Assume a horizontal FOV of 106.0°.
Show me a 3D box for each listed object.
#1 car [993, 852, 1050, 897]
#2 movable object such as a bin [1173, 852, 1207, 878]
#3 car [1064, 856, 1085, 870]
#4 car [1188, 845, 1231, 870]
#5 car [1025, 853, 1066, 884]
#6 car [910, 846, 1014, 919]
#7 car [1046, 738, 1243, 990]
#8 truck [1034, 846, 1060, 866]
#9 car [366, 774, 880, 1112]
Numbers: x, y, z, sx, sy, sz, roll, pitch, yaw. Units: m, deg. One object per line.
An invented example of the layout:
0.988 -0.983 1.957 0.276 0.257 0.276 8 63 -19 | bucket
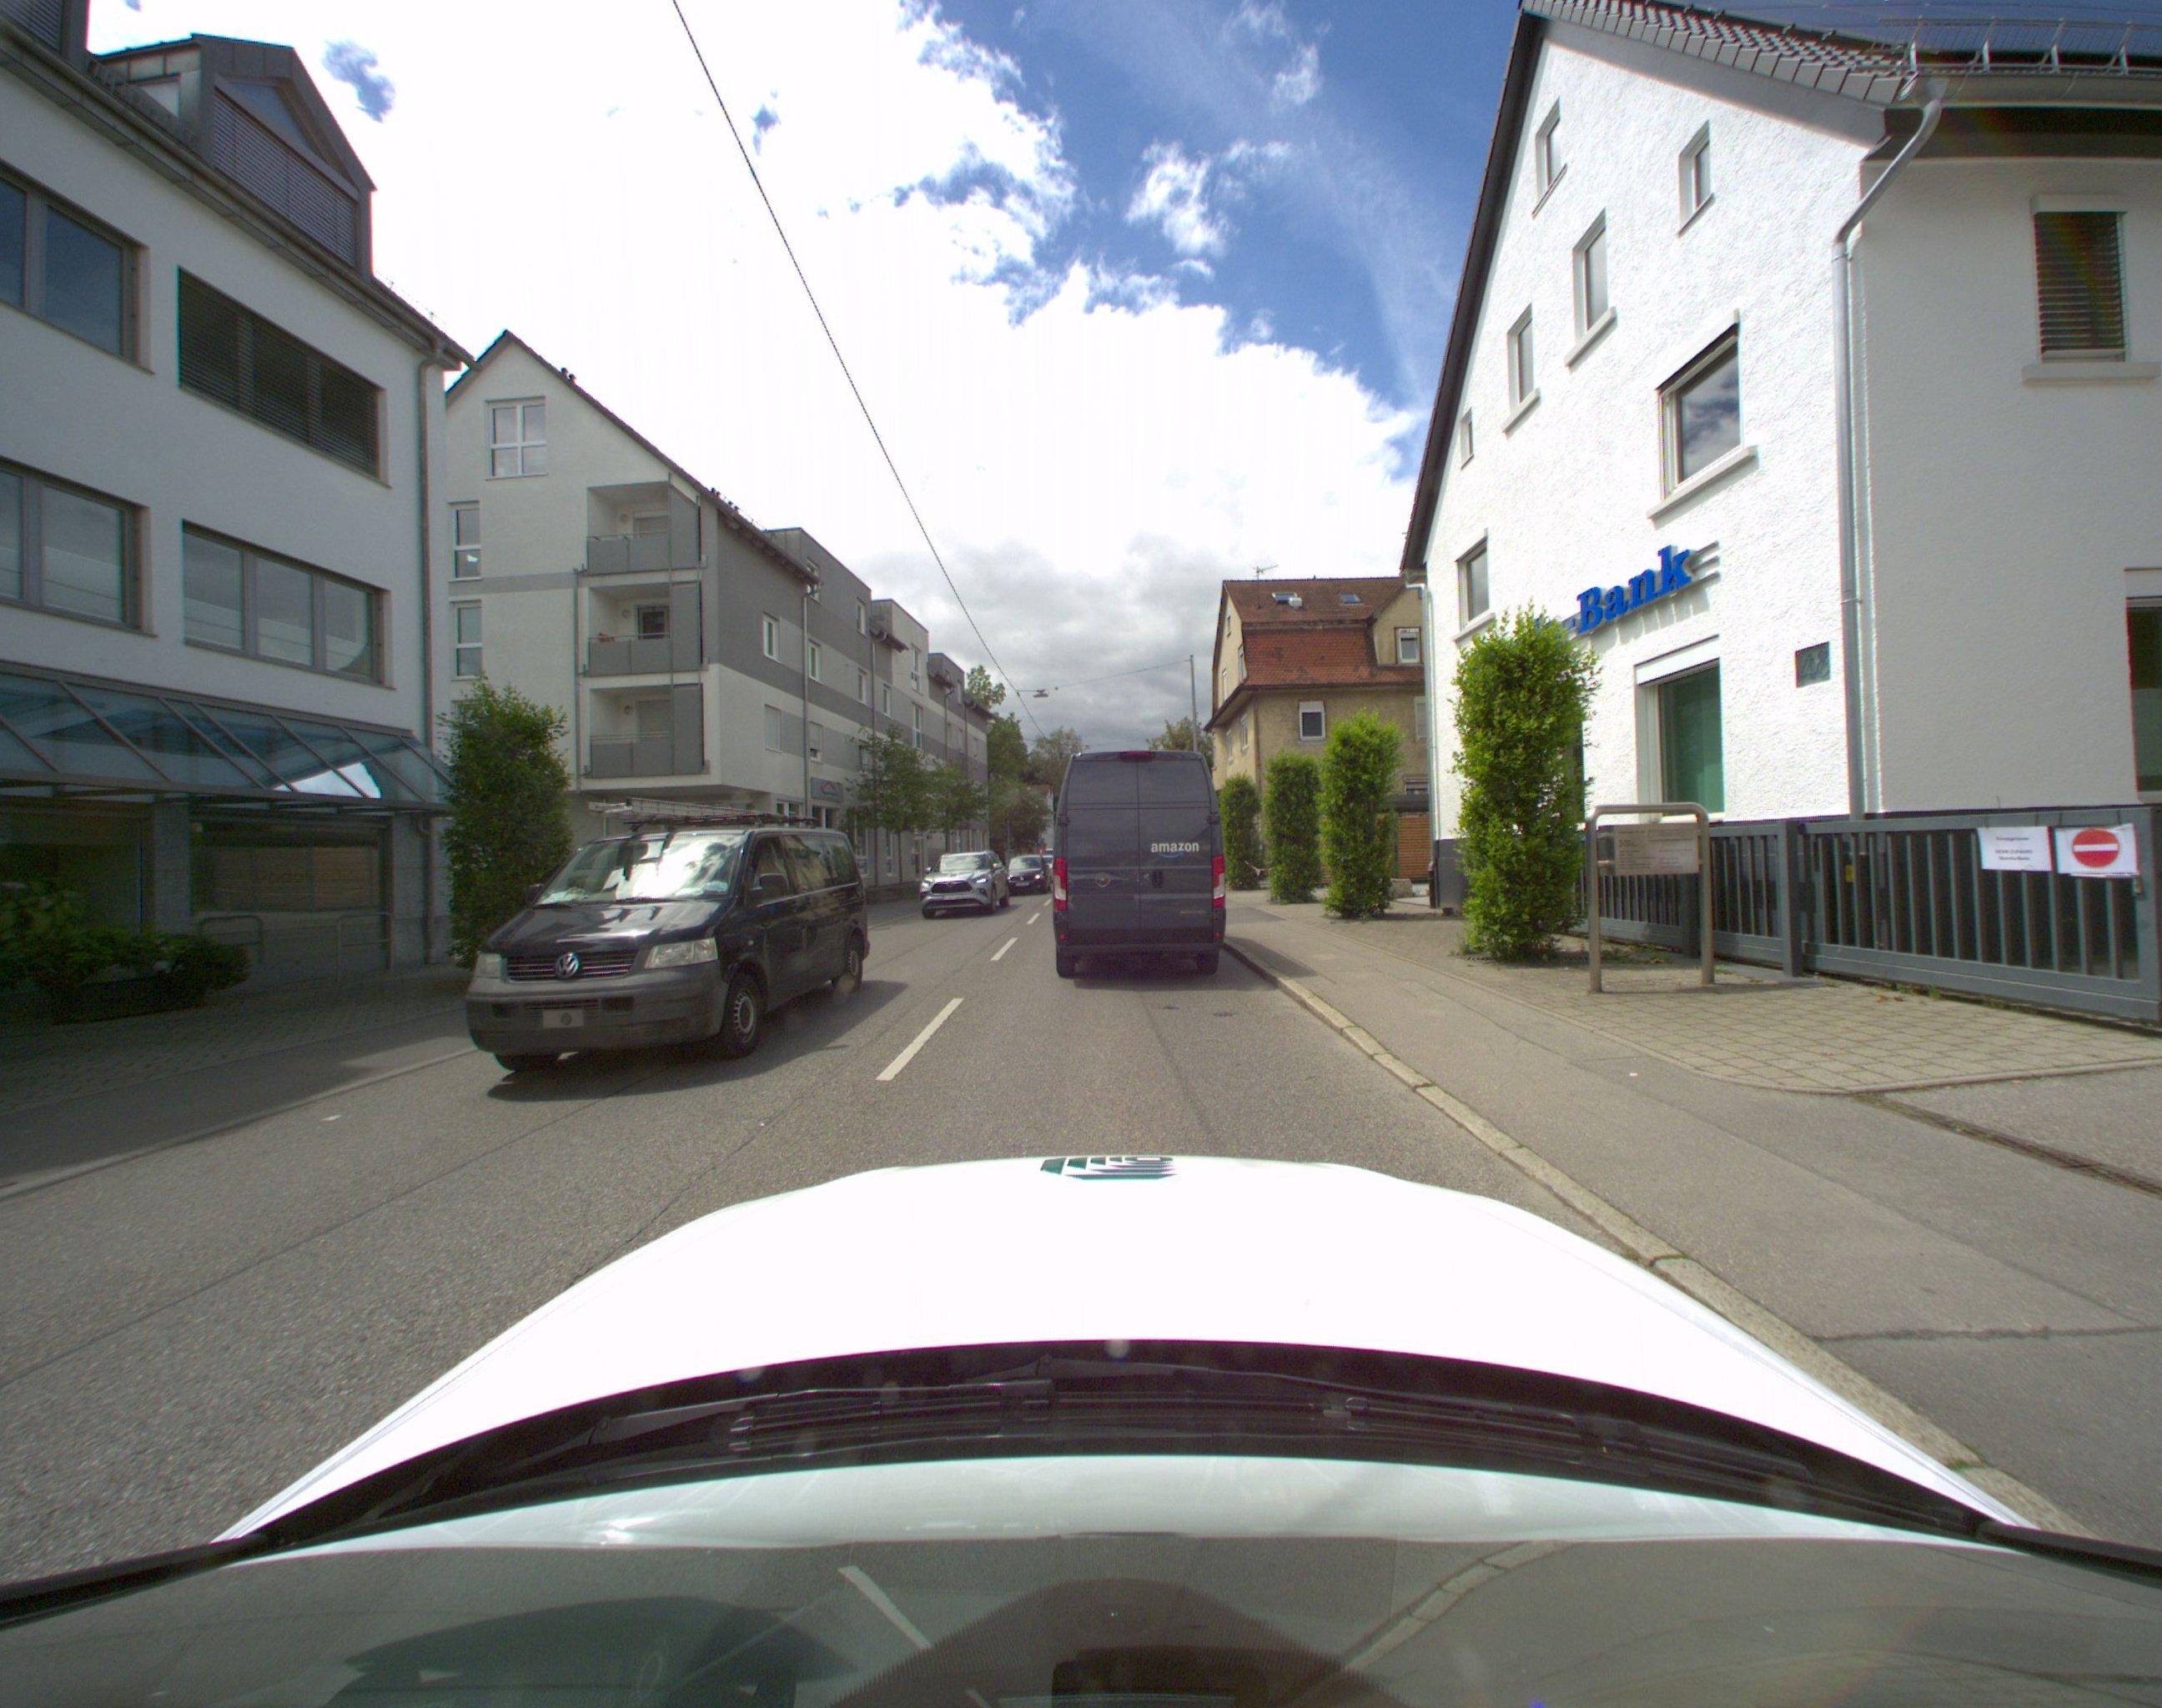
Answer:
-2.329 0.779 32.660 1.825 1.584 4.038 -3 0 1 | car
5.500 0.558 41.098 1.189 1.266 1.198 -1 0 -29 | movable object such as a bin
-0.624 0.924 84.600 1.866 1.424 4.119 -1 0 3 | car
9.353 0.258 59.205 1.735 1.517 4.104 -5 0 27 | car
-1.974 0.806 46.822 1.890 1.559 4.802 -4 0 1 | car
-3.238 0.734 23.179 1.979 1.737 4.798 -4 0 2 | car
0.714 0.109 12.226 2.141 2.770 6.248 -1 0 0 | car
-4.271 0.295 103.554 2.213 2.380 6.336 -1 -1 6 | truck
-3.649 0.583 7.867 2.104 2.152 4.882 -3 0 0 | car
